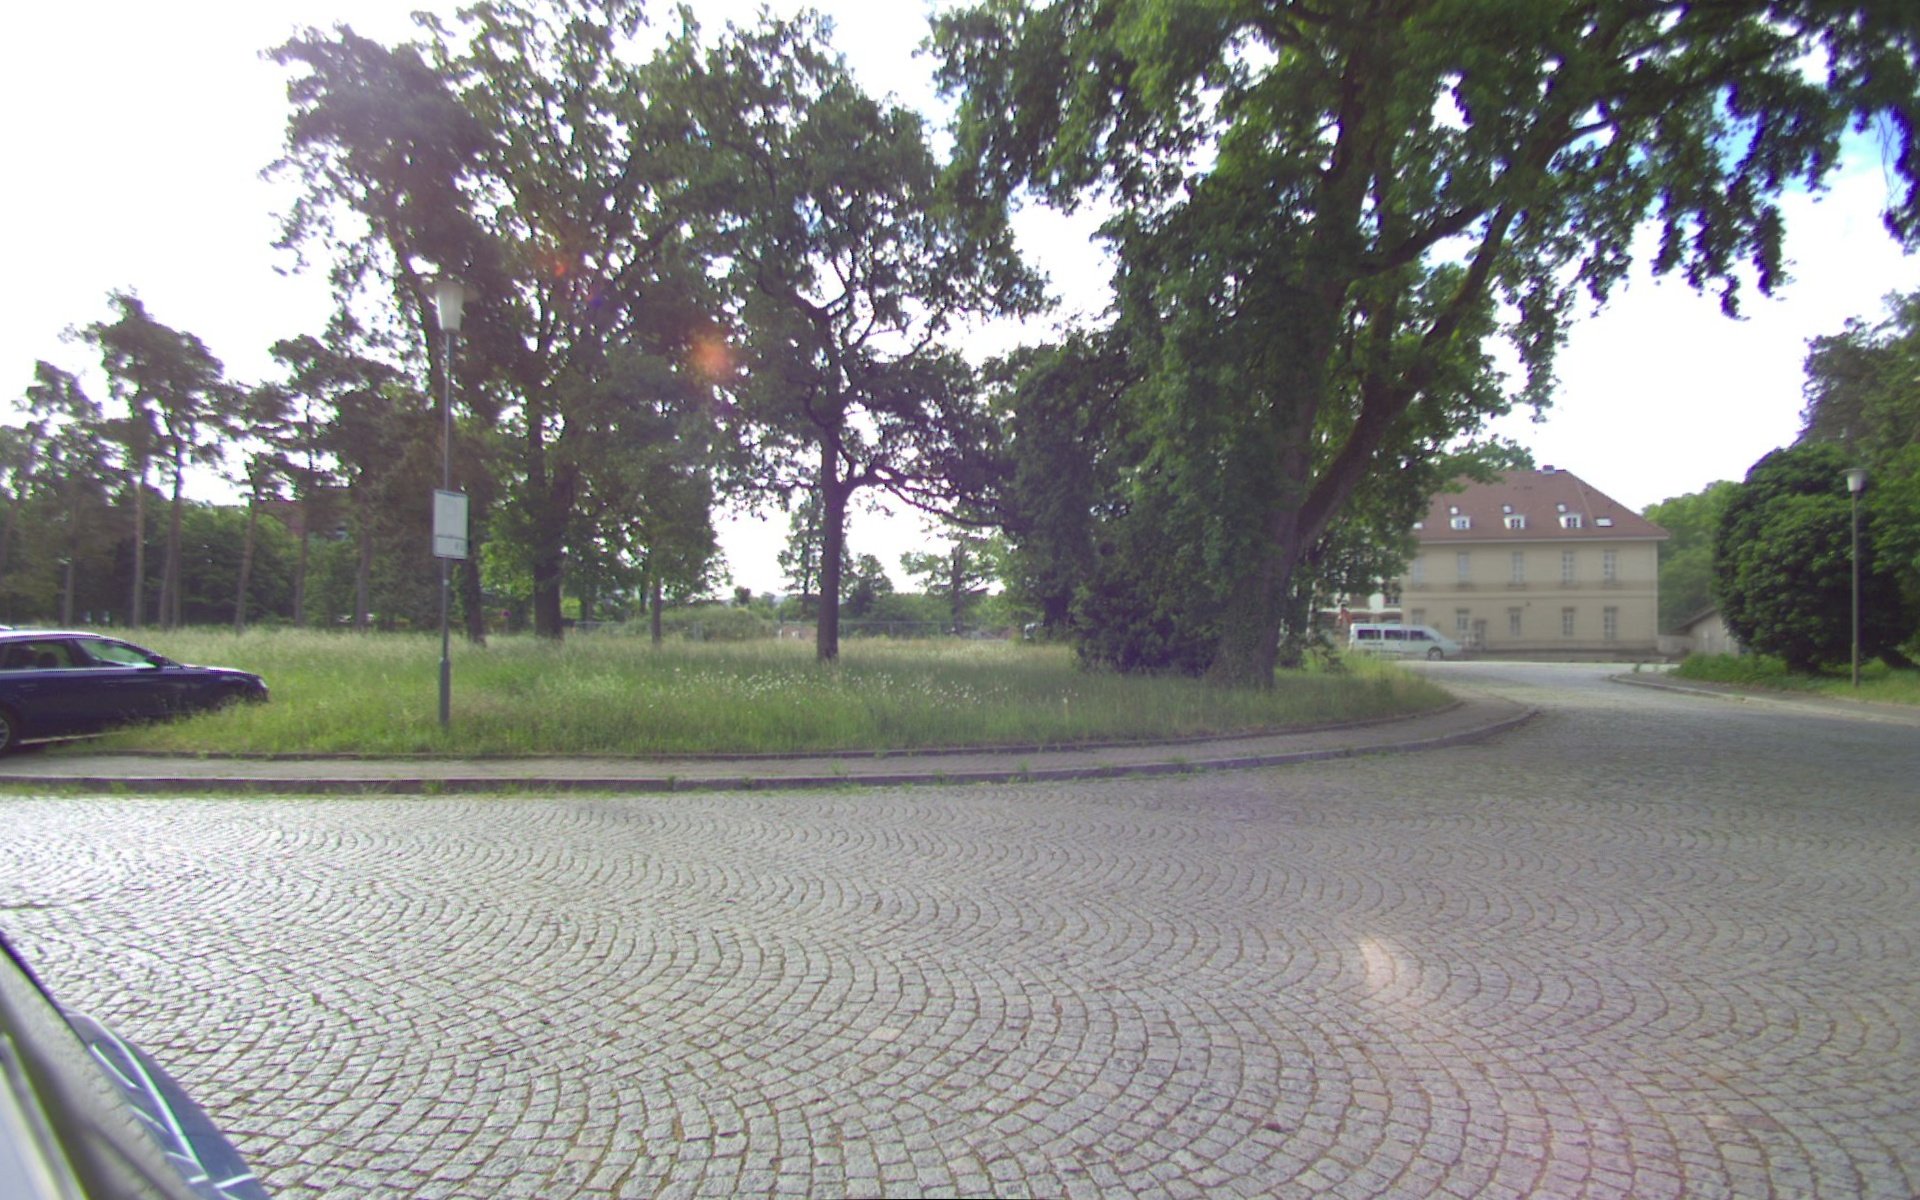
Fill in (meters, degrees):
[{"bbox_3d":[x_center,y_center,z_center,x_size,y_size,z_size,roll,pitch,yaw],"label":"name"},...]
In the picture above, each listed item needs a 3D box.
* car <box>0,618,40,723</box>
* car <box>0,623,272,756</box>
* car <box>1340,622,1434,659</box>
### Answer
[{"bbox_3d":[-15.865,1.035,14.151,1.774,1.585,4.130,0,-1,16],"label":"car"},{"bbox_3d":[-11.380,1.049,12.701,1.669,1.491,4.416,-1,-1,20],"label":"car"},{"bbox_3d":[28.019,2.624,66.596,5.485,2.224,2.114,0,1,18],"label":"car"}]
